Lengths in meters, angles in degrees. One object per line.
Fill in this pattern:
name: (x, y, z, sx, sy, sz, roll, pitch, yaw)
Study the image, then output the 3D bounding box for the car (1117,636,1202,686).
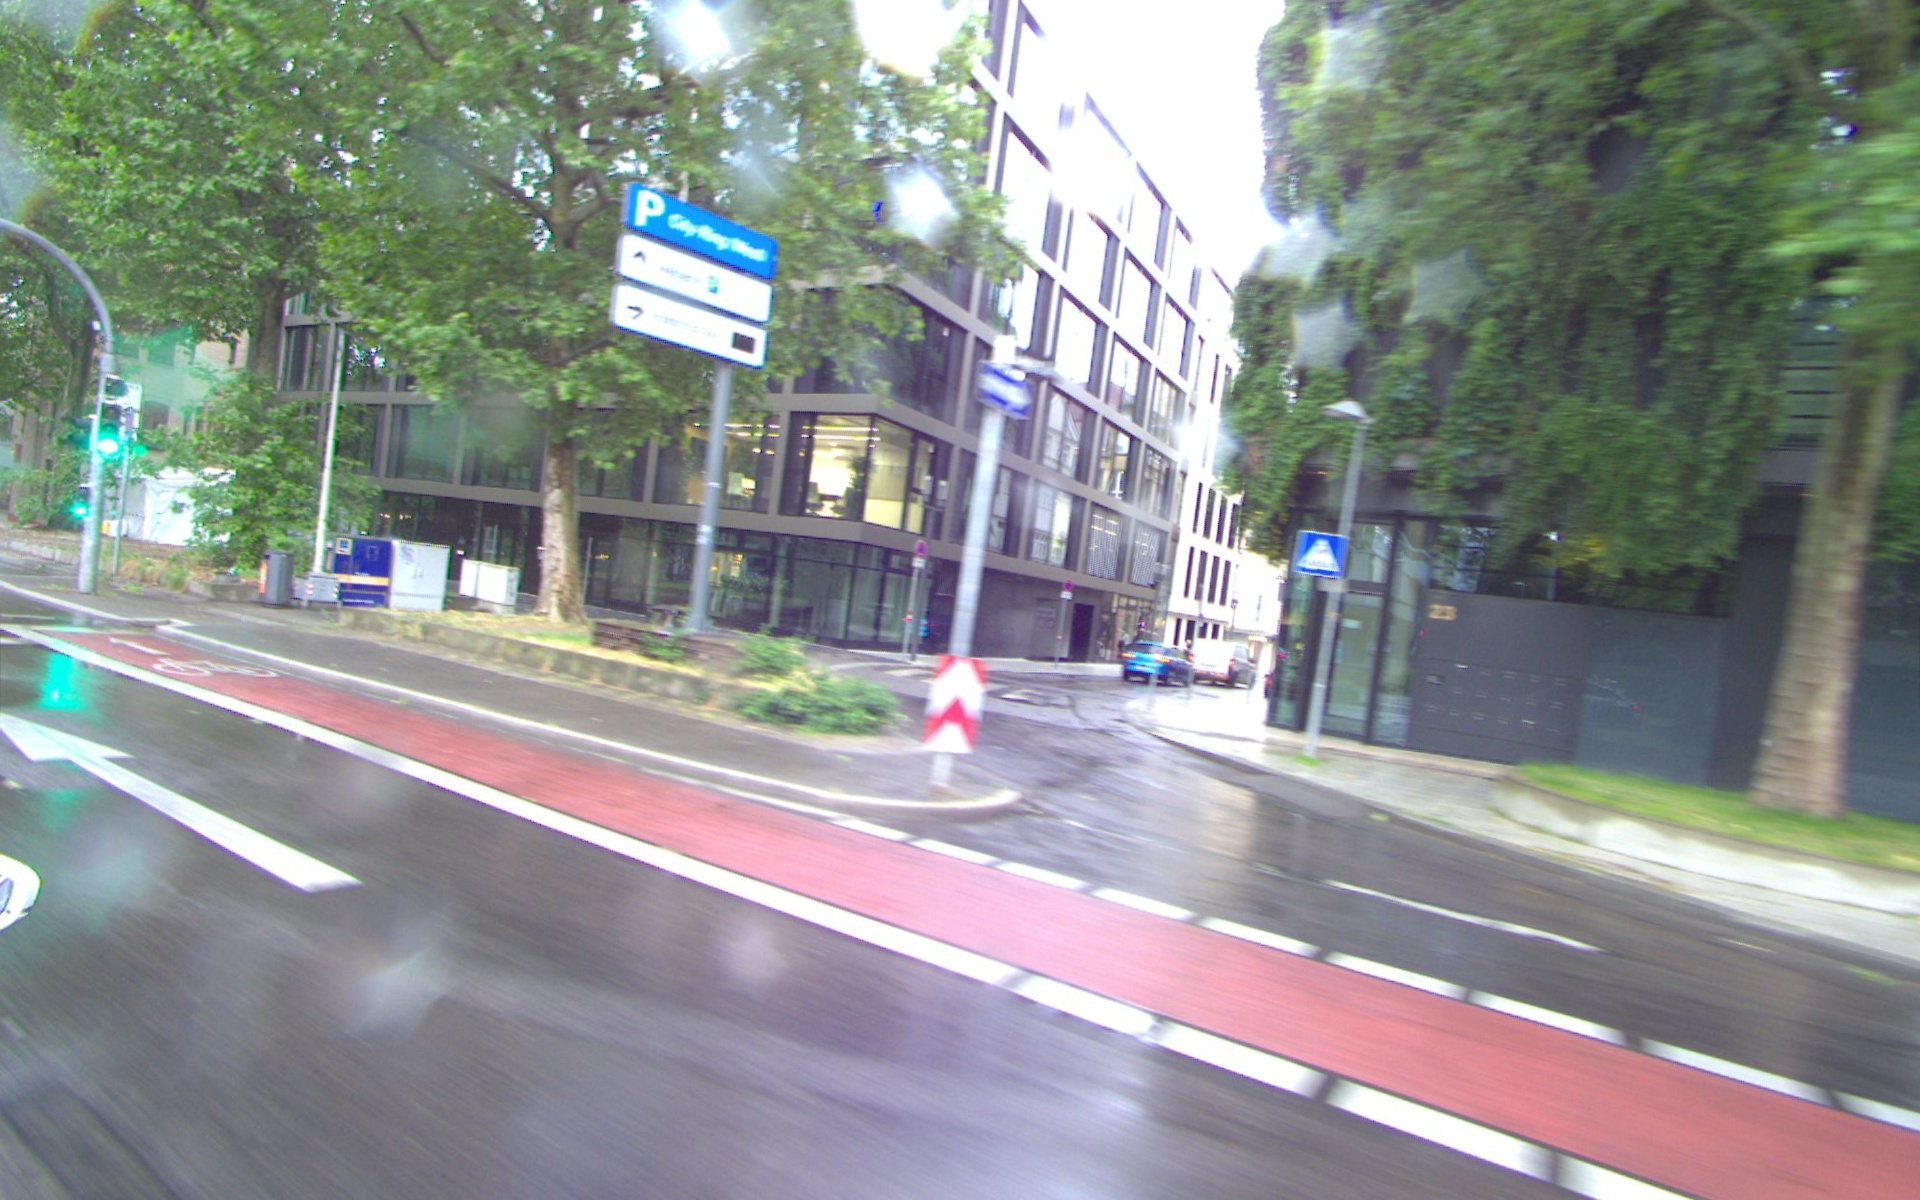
car: (7.092, 2.176, 35.459, 1.770, 1.453, 4.058, 6, -1, 28)

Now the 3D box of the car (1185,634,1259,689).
car: (11.267, 2.677, 43.016, 1.892, 1.968, 4.962, 6, -2, 27)

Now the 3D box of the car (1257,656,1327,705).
car: (13.312, 3.234, 40.171, 1.814, 1.607, 3.997, 6, -2, 29)

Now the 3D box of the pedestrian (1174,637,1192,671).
pedestrian: (10.806, 2.629, 48.763, 0.537, 1.579, 0.503, 6, -1, 28)

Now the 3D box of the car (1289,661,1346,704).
car: (15.724, 3.643, 44.146, 1.754, 1.607, 3.801, 6, -2, 27)
